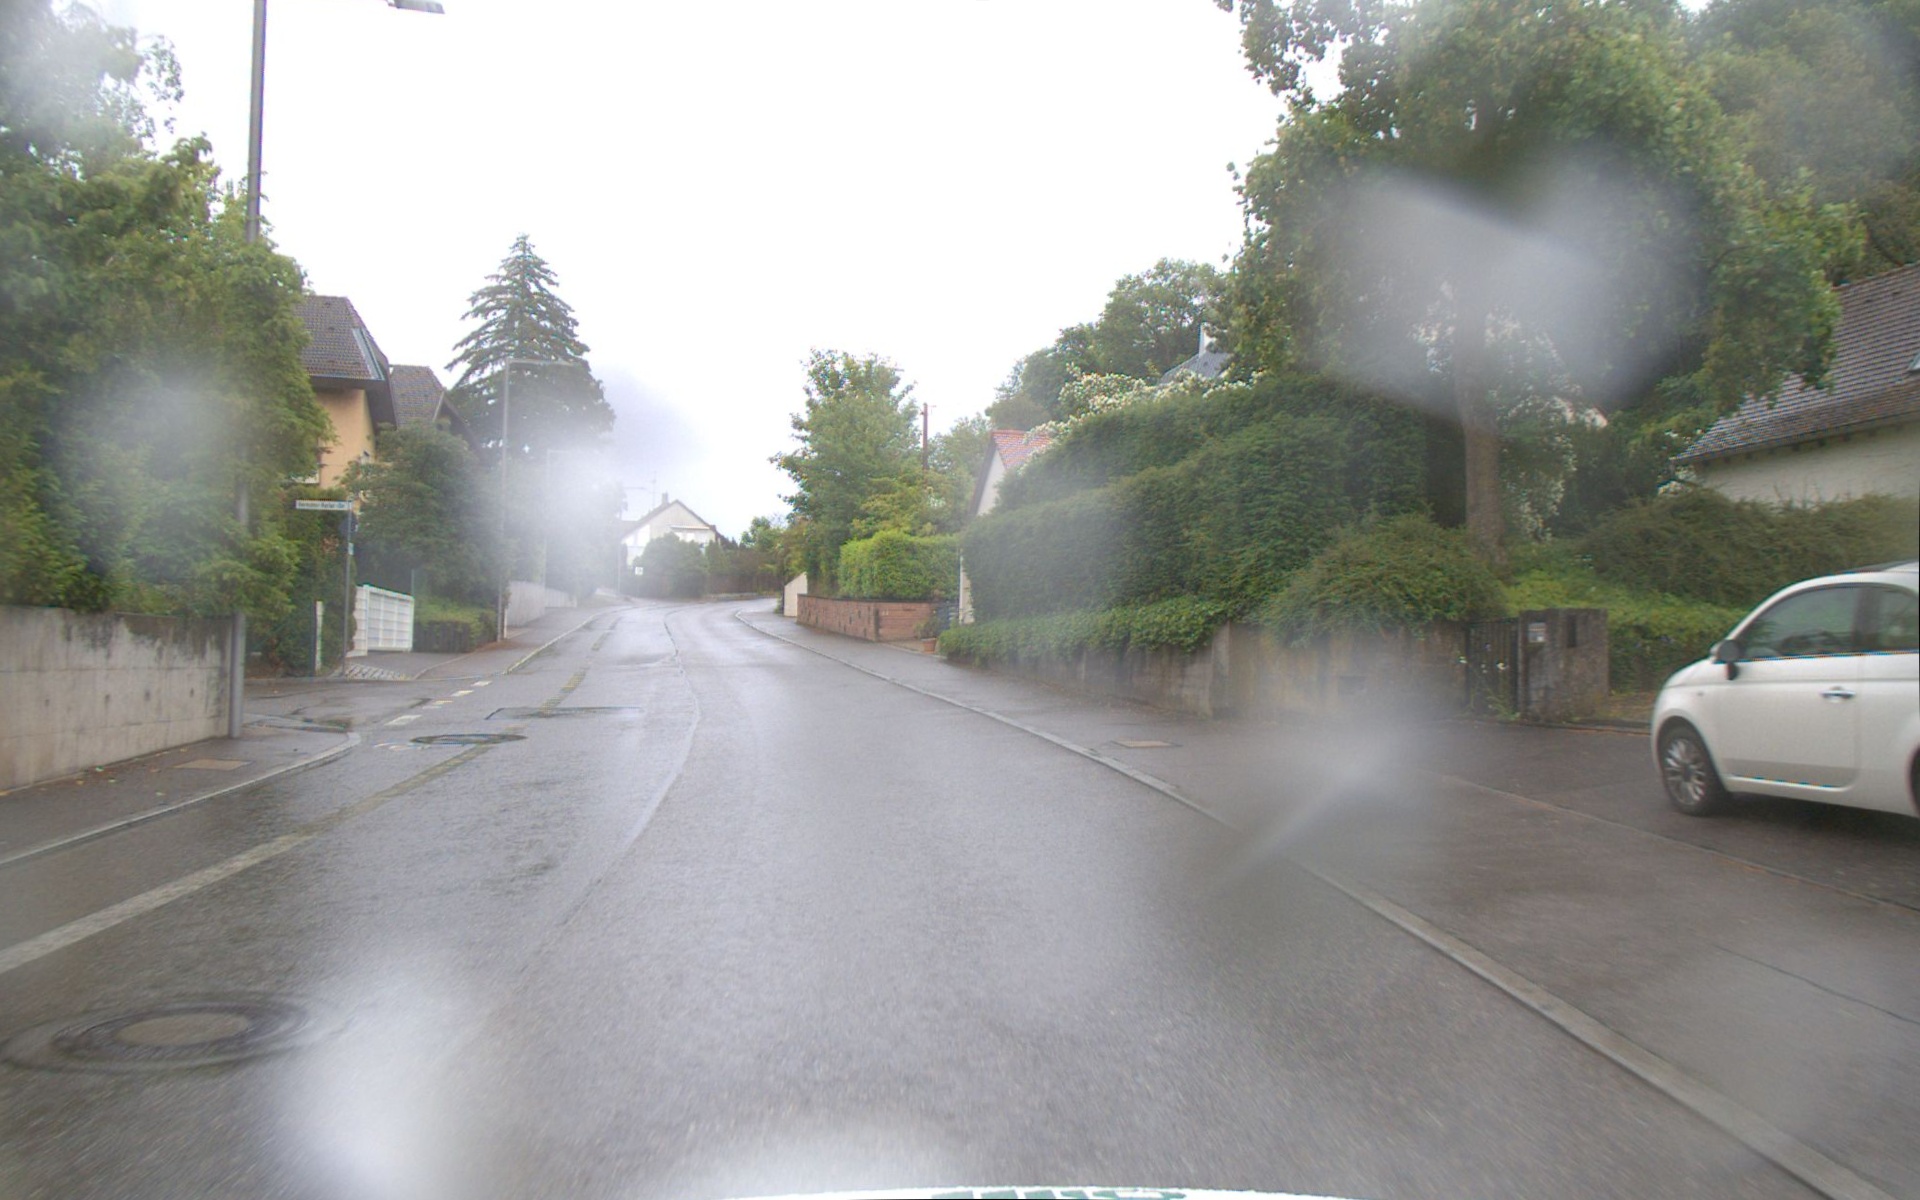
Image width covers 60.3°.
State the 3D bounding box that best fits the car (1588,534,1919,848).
[{"bbox_3d":[5.478,0.431,9.795,1.504,1.562,3.837,-4,1,-9],"label":"car"}]
